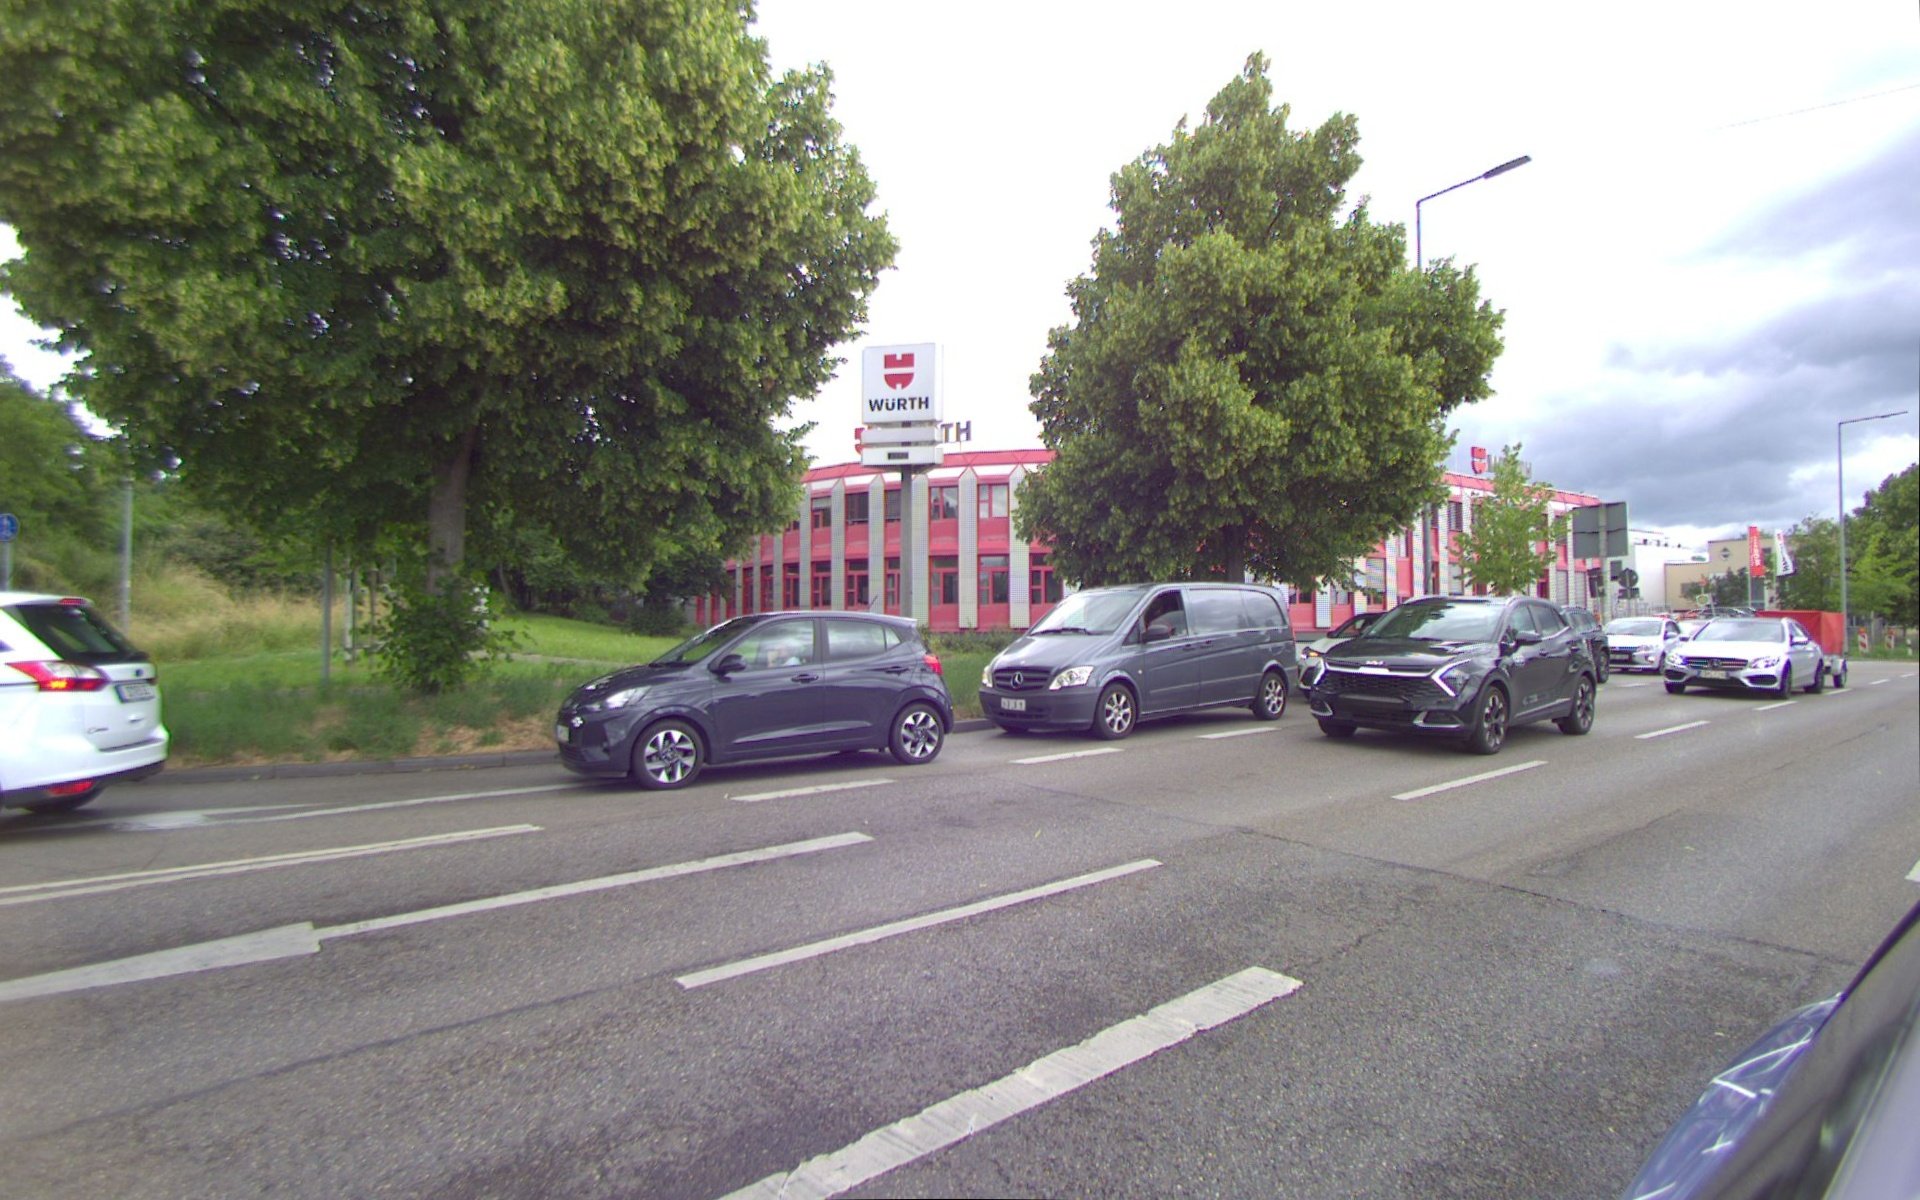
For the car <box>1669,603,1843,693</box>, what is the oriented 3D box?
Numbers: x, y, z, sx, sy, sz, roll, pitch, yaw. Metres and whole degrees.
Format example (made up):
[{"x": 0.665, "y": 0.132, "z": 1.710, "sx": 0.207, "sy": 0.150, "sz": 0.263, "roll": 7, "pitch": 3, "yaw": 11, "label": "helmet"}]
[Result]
[{"x": 15.203, "y": 0.817, "z": 19.253, "sx": 4.323, "sy": 1.469, "sz": 1.774, "roll": -1, "pitch": 1, "yaw": -40, "label": "car"}]

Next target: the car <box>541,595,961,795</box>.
[{"x": -1.905, "y": 0.770, "z": 9.515, "sx": 3.495, "sy": 1.526, "sz": 1.607, "roll": -1, "pitch": -3, "yaw": -34, "label": "car"}]

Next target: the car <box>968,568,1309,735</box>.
[{"x": 2.437, "y": 0.641, "z": 13.085, "sx": 4.591, "sy": 1.798, "sz": 1.761, "roll": 1, "pitch": -4, "yaw": -40, "label": "car"}]

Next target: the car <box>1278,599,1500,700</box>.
[{"x": 7.407, "y": 0.801, "z": 17.319, "sx": 4.034, "sy": 1.536, "sz": 1.842, "roll": 0, "pitch": -4, "yaw": -41, "label": "car"}]

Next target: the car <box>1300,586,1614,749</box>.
[{"x": 5.860, "y": 0.626, "z": 11.722, "sx": 4.145, "sy": 1.549, "sz": 1.796, "roll": -1, "pitch": 1, "yaw": -41, "label": "car"}]

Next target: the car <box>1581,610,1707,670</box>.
[{"x": 18.248, "y": 1.004, "z": 26.932, "sx": 4.293, "sy": 1.458, "sz": 1.761, "roll": 0, "pitch": -1, "yaw": -41, "label": "car"}]

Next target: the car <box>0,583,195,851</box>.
[{"x": -7.881, "y": 0.740, "z": 6.590, "sx": 4.278, "sy": 1.676, "sz": 1.768, "roll": 0, "pitch": -1, "yaw": -20, "label": "car"}]

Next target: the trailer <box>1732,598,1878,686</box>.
[{"x": 18.369, "y": 0.824, "z": 21.948, "sx": 3.926, "sy": 1.680, "sz": 1.774, "roll": -1, "pitch": 0, "yaw": -40, "label": "trailer"}]

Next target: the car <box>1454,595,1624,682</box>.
[{"x": 12.392, "y": 0.806, "z": 21.578, "sx": 4.133, "sy": 1.679, "sz": 1.863, "roll": 1, "pitch": -3, "yaw": -41, "label": "car"}]
